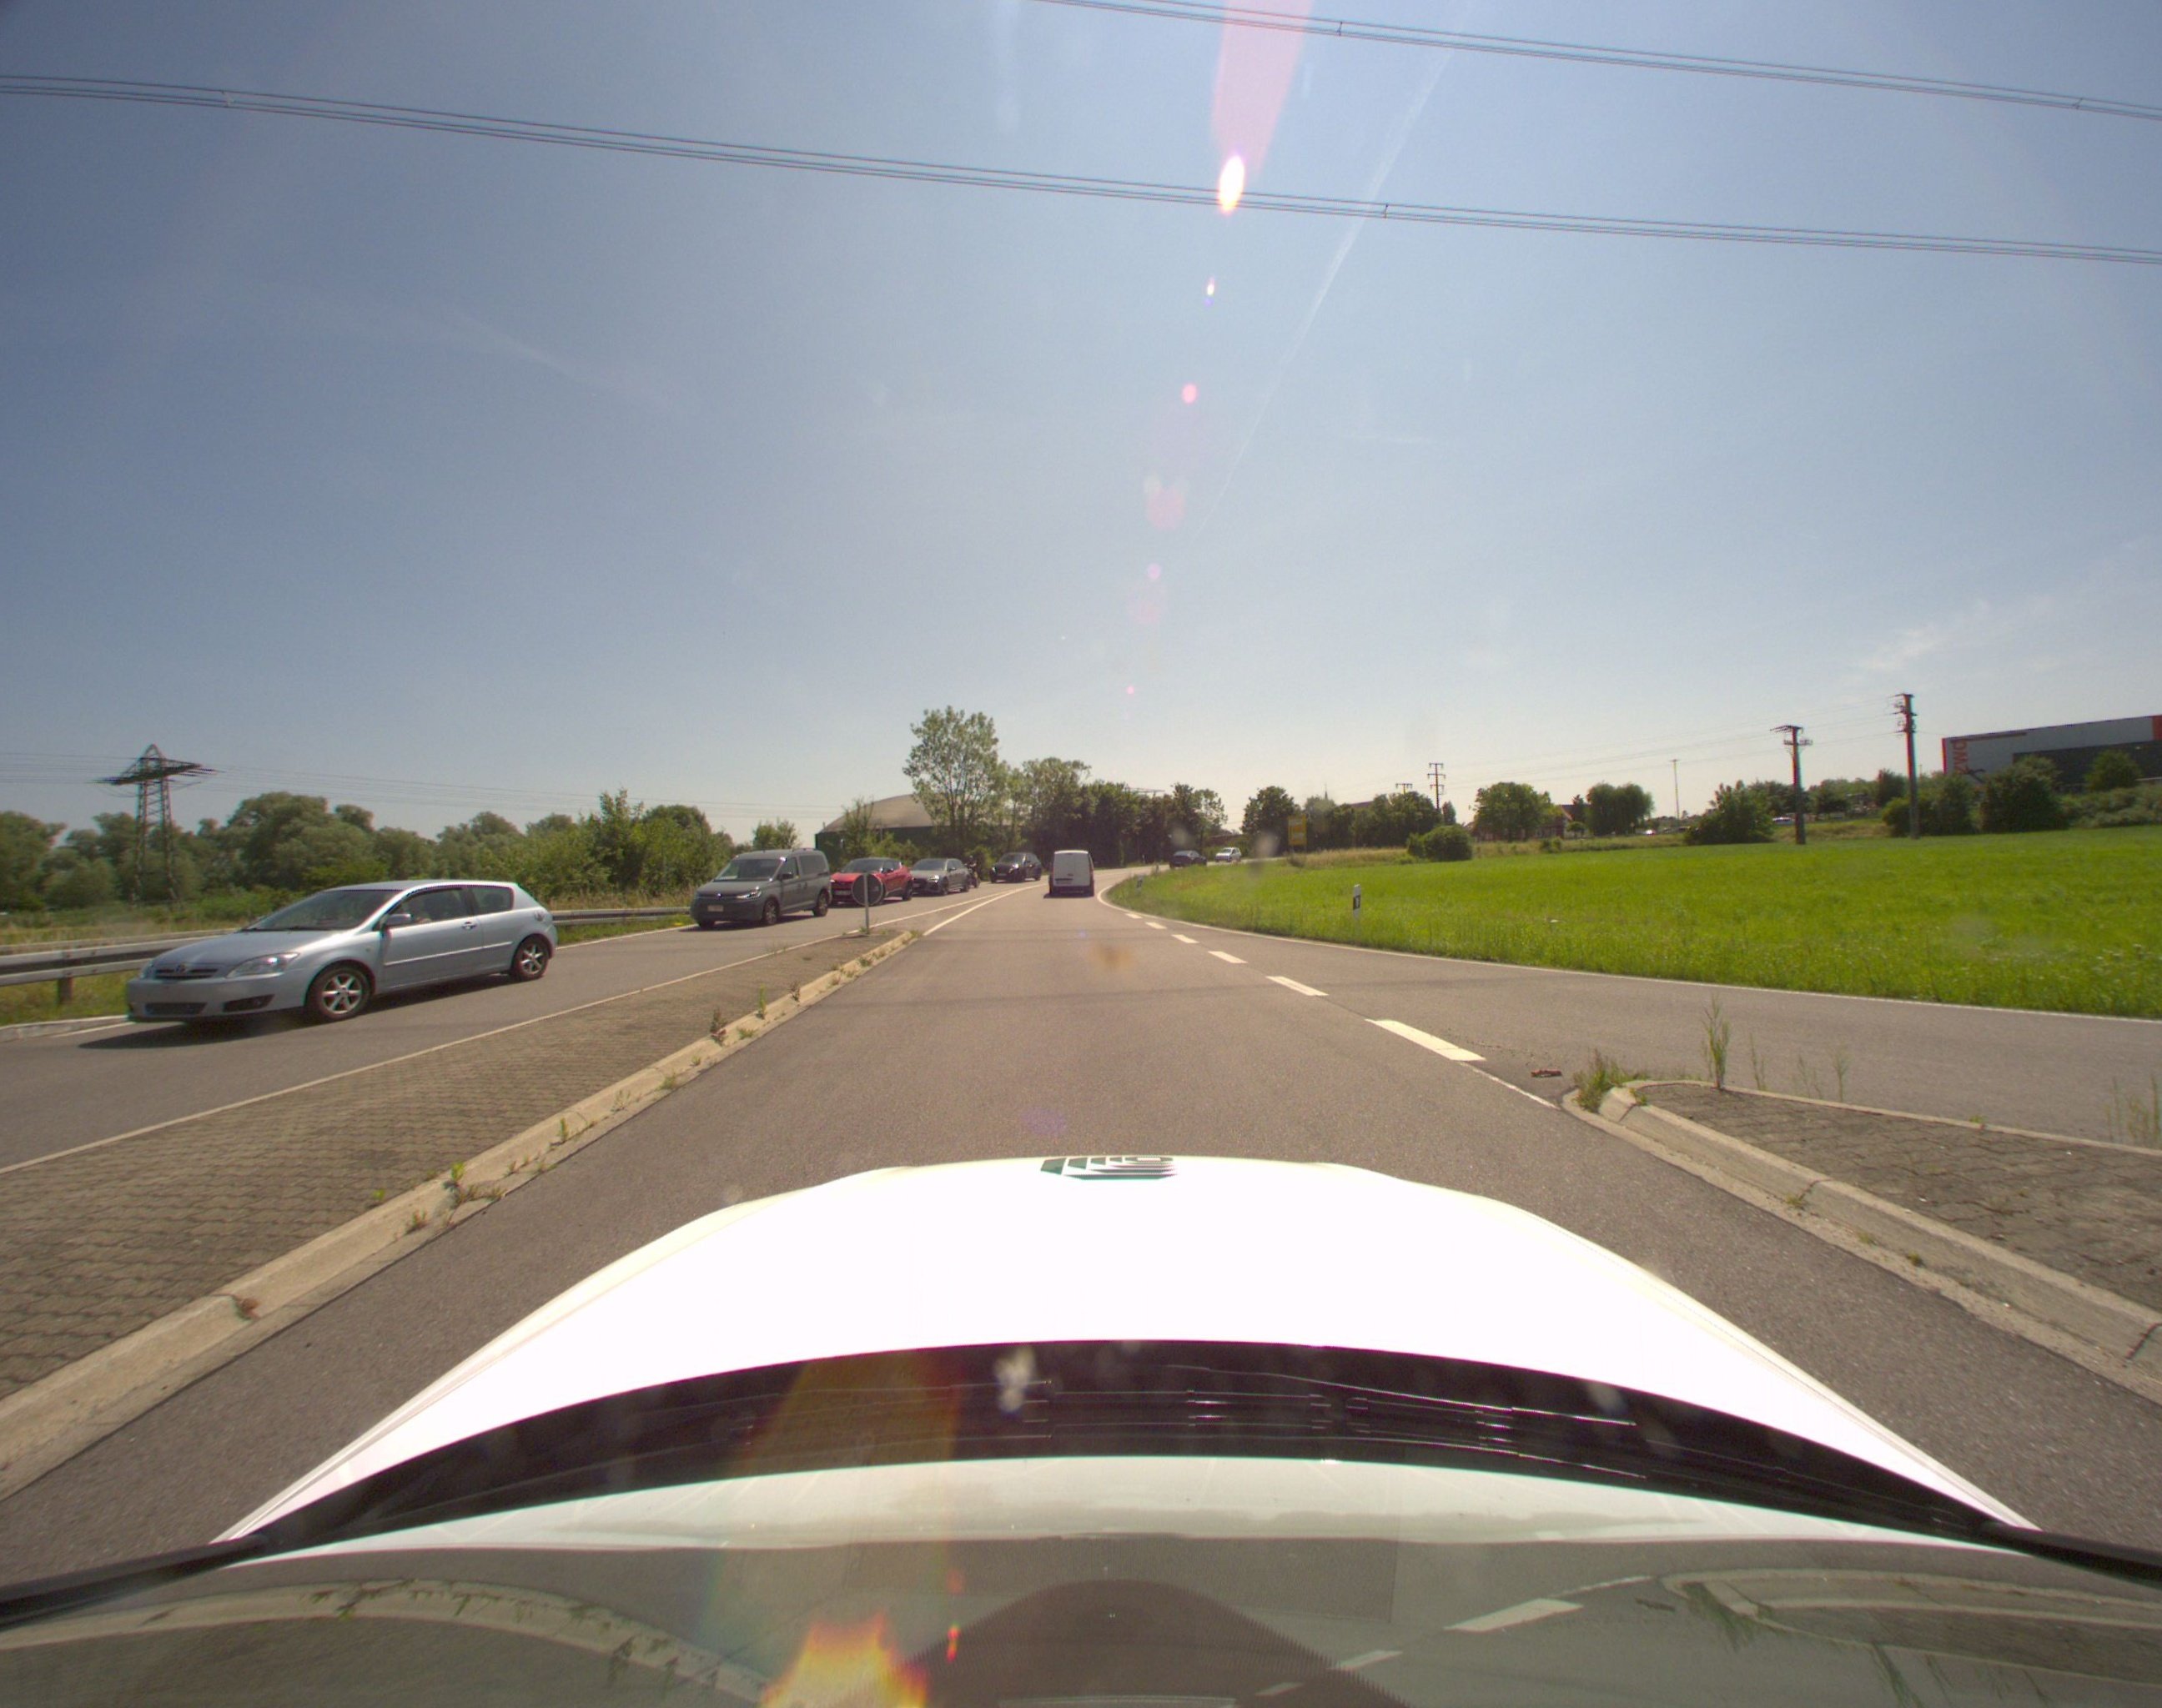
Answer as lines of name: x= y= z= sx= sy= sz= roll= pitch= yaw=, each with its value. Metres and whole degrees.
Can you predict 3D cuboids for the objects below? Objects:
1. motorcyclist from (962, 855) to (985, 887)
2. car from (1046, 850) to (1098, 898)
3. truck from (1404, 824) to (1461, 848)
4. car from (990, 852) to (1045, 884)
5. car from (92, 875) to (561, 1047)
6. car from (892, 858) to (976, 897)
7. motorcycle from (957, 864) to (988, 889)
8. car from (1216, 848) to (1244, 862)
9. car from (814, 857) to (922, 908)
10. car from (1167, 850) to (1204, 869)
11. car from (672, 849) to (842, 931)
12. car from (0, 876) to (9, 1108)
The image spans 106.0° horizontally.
motorcyclist: x=-5.125 y=0.809 z=38.905 sx=0.776 sy=1.495 sz=1.134 roll=-2 pitch=-1 yaw=10
car: x=-0.386 y=0.777 z=32.635 sx=1.898 sy=1.732 sz=3.820 roll=-2 pitch=-1 yaw=-1
truck: x=48.170 y=-2.389 z=111.583 sx=8.841 sy=3.137 sz=3.074 roll=0 pitch=-1 yaw=-36
car: x=-3.493 y=0.748 z=45.424 sx=1.689 sy=1.638 sz=4.266 roll=0 pitch=1 yaw=15
car: x=-8.485 y=1.080 z=9.764 sx=1.624 sy=1.459 sz=4.014 roll=-2 pitch=0 yaw=5
car: x=-5.940 y=0.915 z=33.602 sx=1.830 sy=1.460 sz=4.822 roll=-1 pitch=-1 yaw=10
motorcycle: x=-5.140 y=1.050 z=38.845 sx=0.777 sy=1.123 sz=2.436 roll=-1 pitch=0 yaw=10
car: x=15.481 y=0.127 z=84.526 sx=1.522 sy=1.443 sz=3.630 roll=1 pitch=0 yaw=34
car: x=-7.073 y=0.904 z=27.589 sx=1.788 sy=1.515 sz=4.404 roll=2 pitch=0 yaw=10
car: x=8.469 y=0.448 z=65.823 sx=1.703 sy=1.420 sz=3.768 roll=-3 pitch=-1 yaw=28
car: x=-7.982 y=0.803 z=20.593 sx=1.914 sy=1.832 sz=4.451 roll=-1 pitch=1 yaw=10
car: x=-8.637 y=0.991 z=3.639 sx=1.763 sy=1.620 sz=4.337 roll=-1 pitch=0 yaw=5
